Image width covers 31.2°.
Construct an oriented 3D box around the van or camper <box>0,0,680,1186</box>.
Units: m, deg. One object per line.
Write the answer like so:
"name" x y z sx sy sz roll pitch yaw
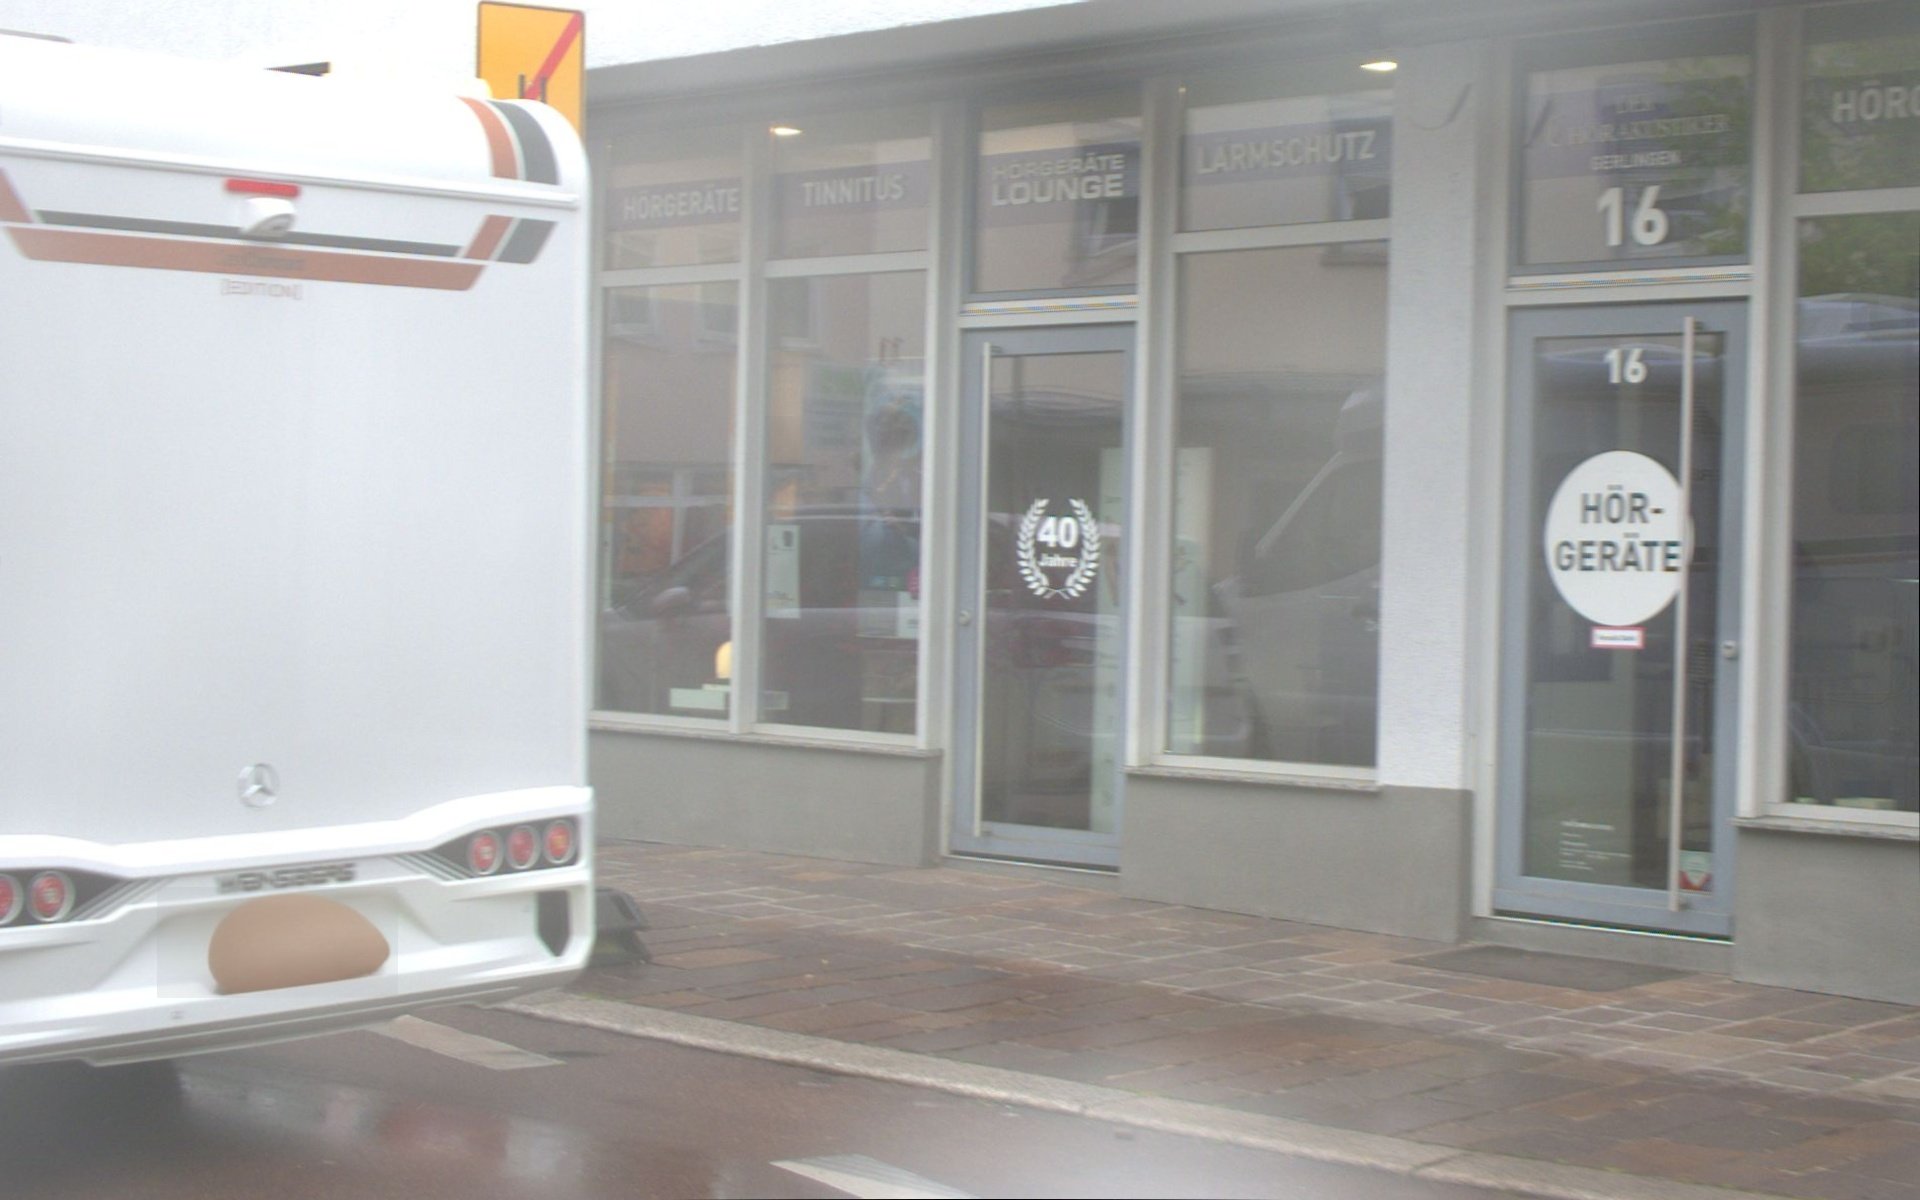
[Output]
"van or camper" -4.181 -0.136 10.136 6.744 2.576 2.440 2 1 38
